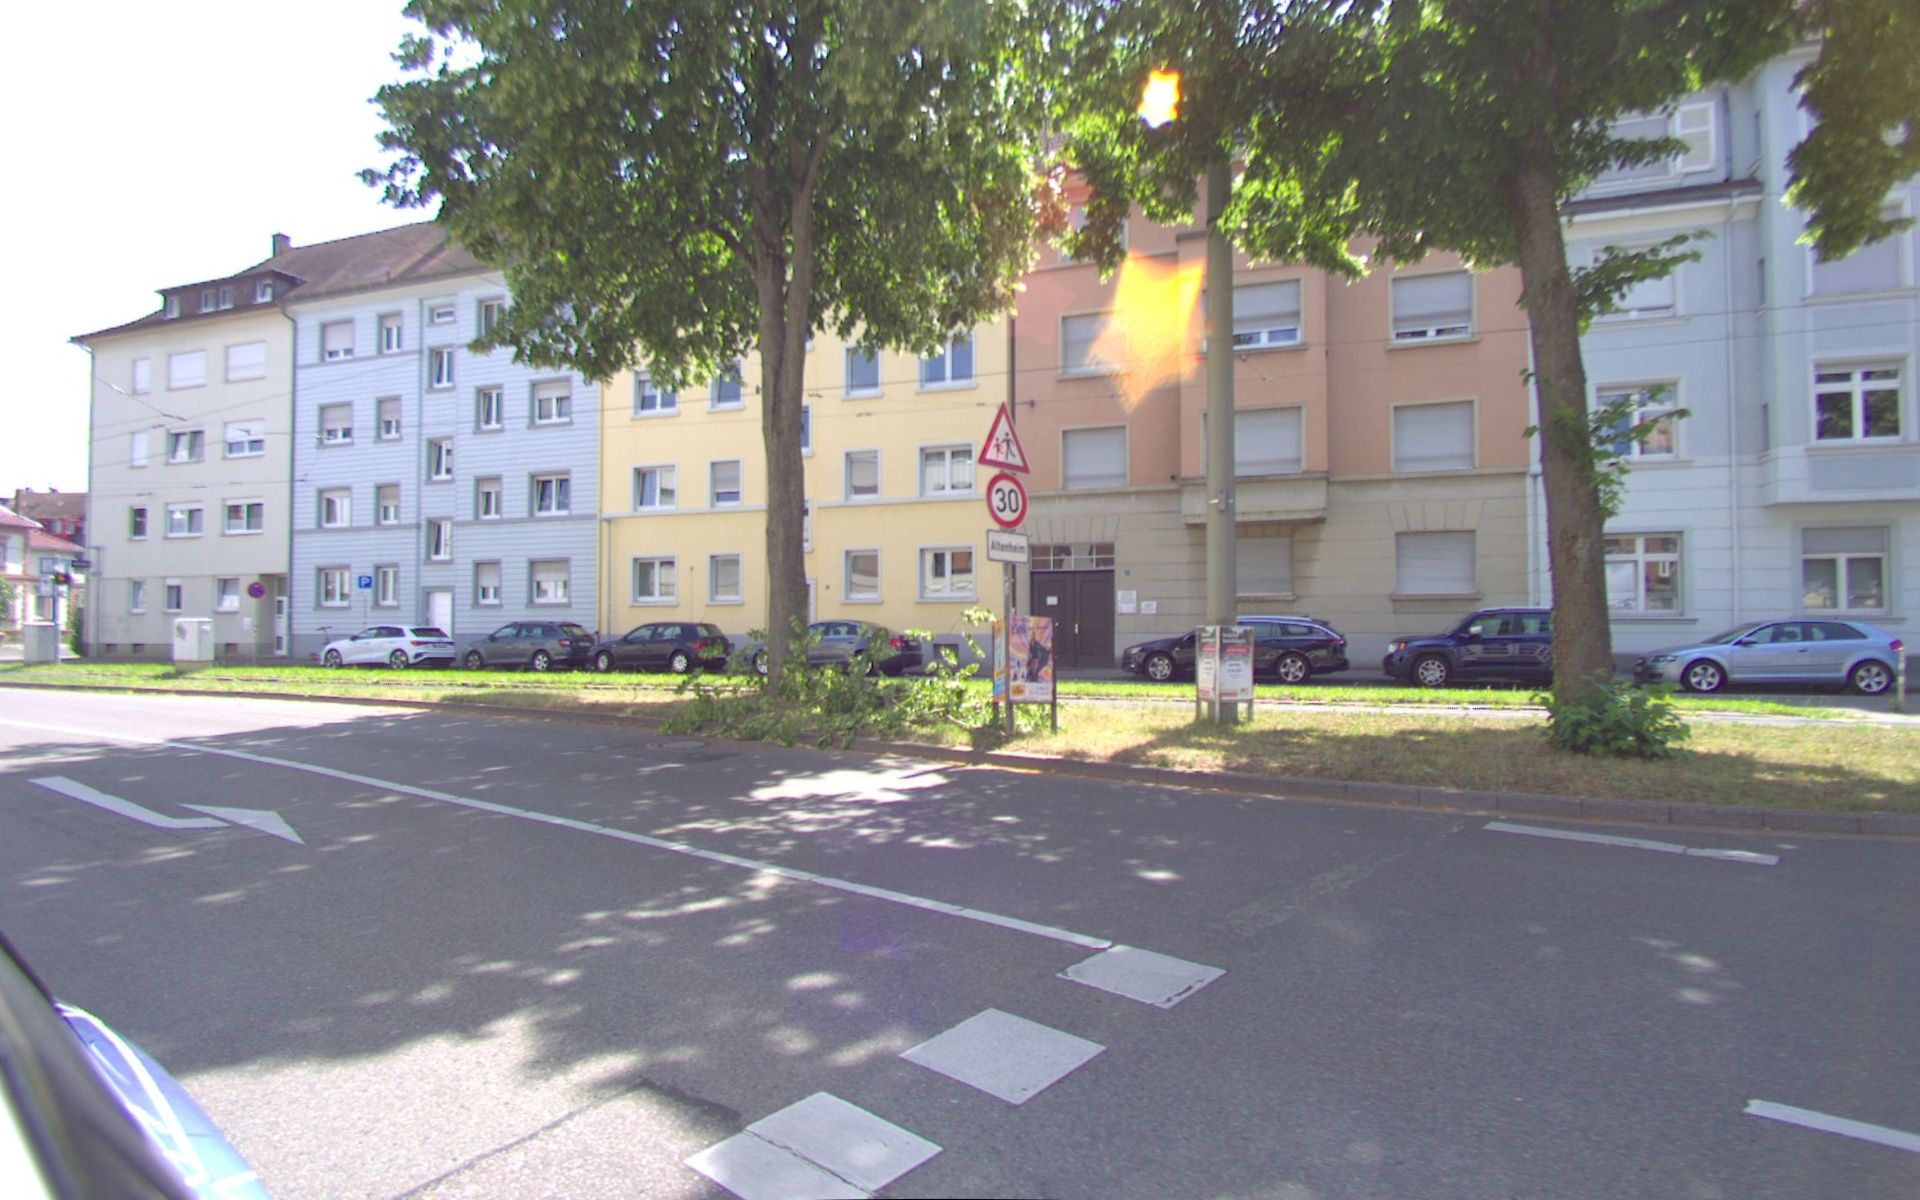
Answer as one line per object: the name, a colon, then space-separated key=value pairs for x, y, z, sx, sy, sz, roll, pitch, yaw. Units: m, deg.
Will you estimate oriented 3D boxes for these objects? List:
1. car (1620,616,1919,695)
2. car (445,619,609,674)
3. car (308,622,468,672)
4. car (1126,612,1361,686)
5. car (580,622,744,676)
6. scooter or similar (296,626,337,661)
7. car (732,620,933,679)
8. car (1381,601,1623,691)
car: x=15.263 y=1.053 z=19.195 sx=4.218 sy=1.367 sz=1.800 roll=-1 pitch=-4 yaw=20
car: x=-12.797 y=1.384 z=29.964 sx=4.291 sy=1.516 sz=1.922 roll=-1 pitch=-3 yaw=19
car: x=-17.873 y=1.491 z=31.635 sx=4.341 sy=1.462 sz=1.922 roll=-1 pitch=-4 yaw=19
car: x=6.246 y=1.096 z=22.433 sx=4.827 sy=1.502 sz=1.920 roll=-1 pitch=-4 yaw=21
car: x=-8.261 y=1.368 z=28.069 sx=4.112 sy=1.411 sz=1.824 roll=-1 pitch=-3 yaw=21
scooter or similar: x=-23.690 y=1.593 z=37.256 sx=1.311 sy=1.232 sz=0.636 roll=-1 pitch=-1 yaw=20
car: x=-3.275 y=1.277 z=26.087 sx=4.829 sy=1.409 sz=1.920 roll=-1 pitch=-4 yaw=22
car: x=10.931 y=0.962 z=20.779 sx=4.112 sy=1.698 sz=1.830 roll=-1 pitch=-4 yaw=20
